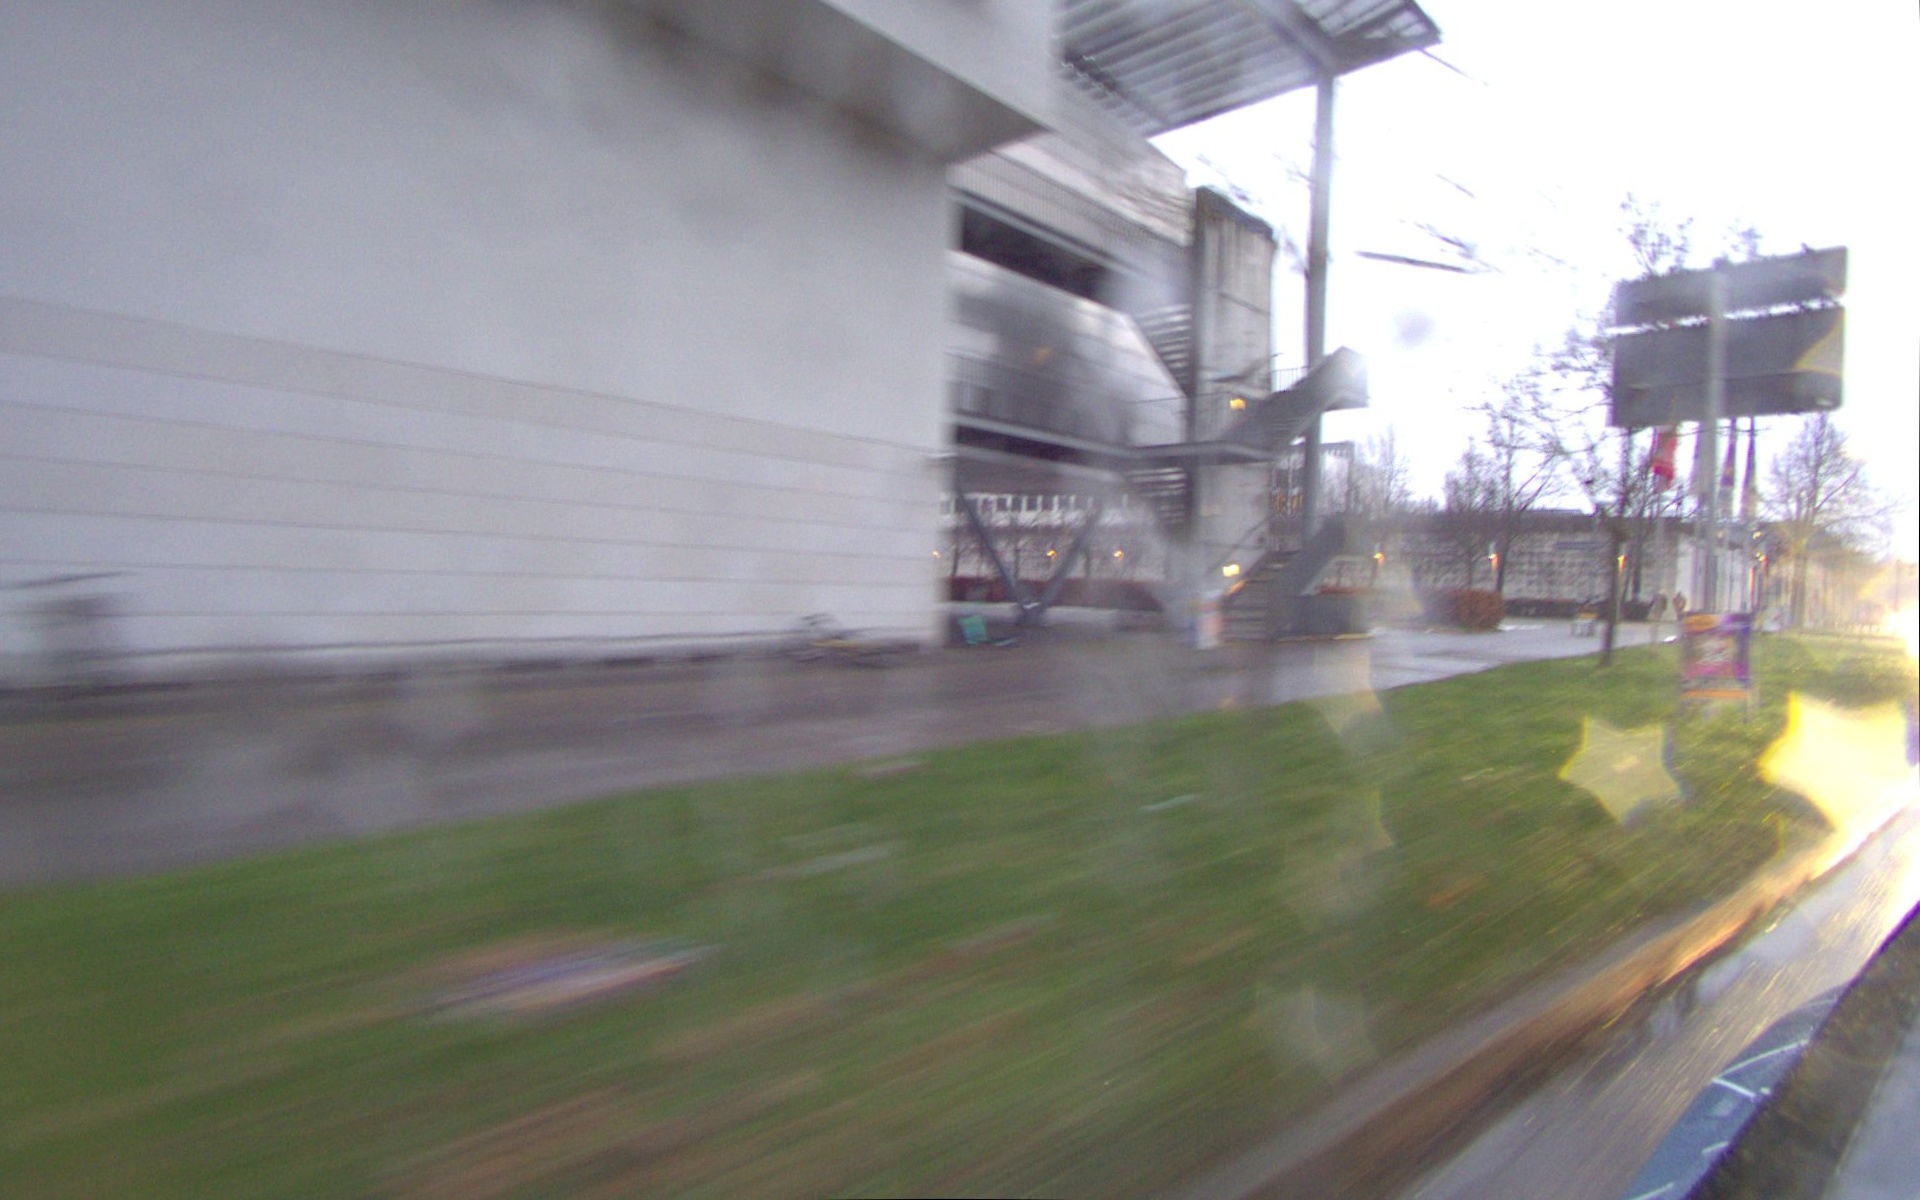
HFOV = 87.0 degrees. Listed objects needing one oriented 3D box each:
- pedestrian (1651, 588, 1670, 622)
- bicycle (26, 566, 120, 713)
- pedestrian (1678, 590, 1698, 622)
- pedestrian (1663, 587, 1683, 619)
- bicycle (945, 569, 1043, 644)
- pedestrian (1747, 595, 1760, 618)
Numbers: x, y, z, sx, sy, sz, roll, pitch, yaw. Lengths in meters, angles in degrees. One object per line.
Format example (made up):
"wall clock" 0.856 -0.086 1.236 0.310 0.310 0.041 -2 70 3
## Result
"pedestrian" 37.808 0.278 54.643 0.602 1.800 0.675 1 0 -32
"bicycle" -7.428 0.281 8.449 1.808 1.065 0.391 4 2 43
"pedestrian" 38.169 0.304 53.073 0.602 1.632 0.675 1 0 -32
"pedestrian" 36.496 0.150 51.793 0.602 1.646 0.675 1 0 -31
"bicycle" 0.613 0.121 18.157 1.707 1.301 0.412 0 0 -19
"pedestrian" 58.625 0.451 74.770 0.666 1.675 0.981 3 2 38
